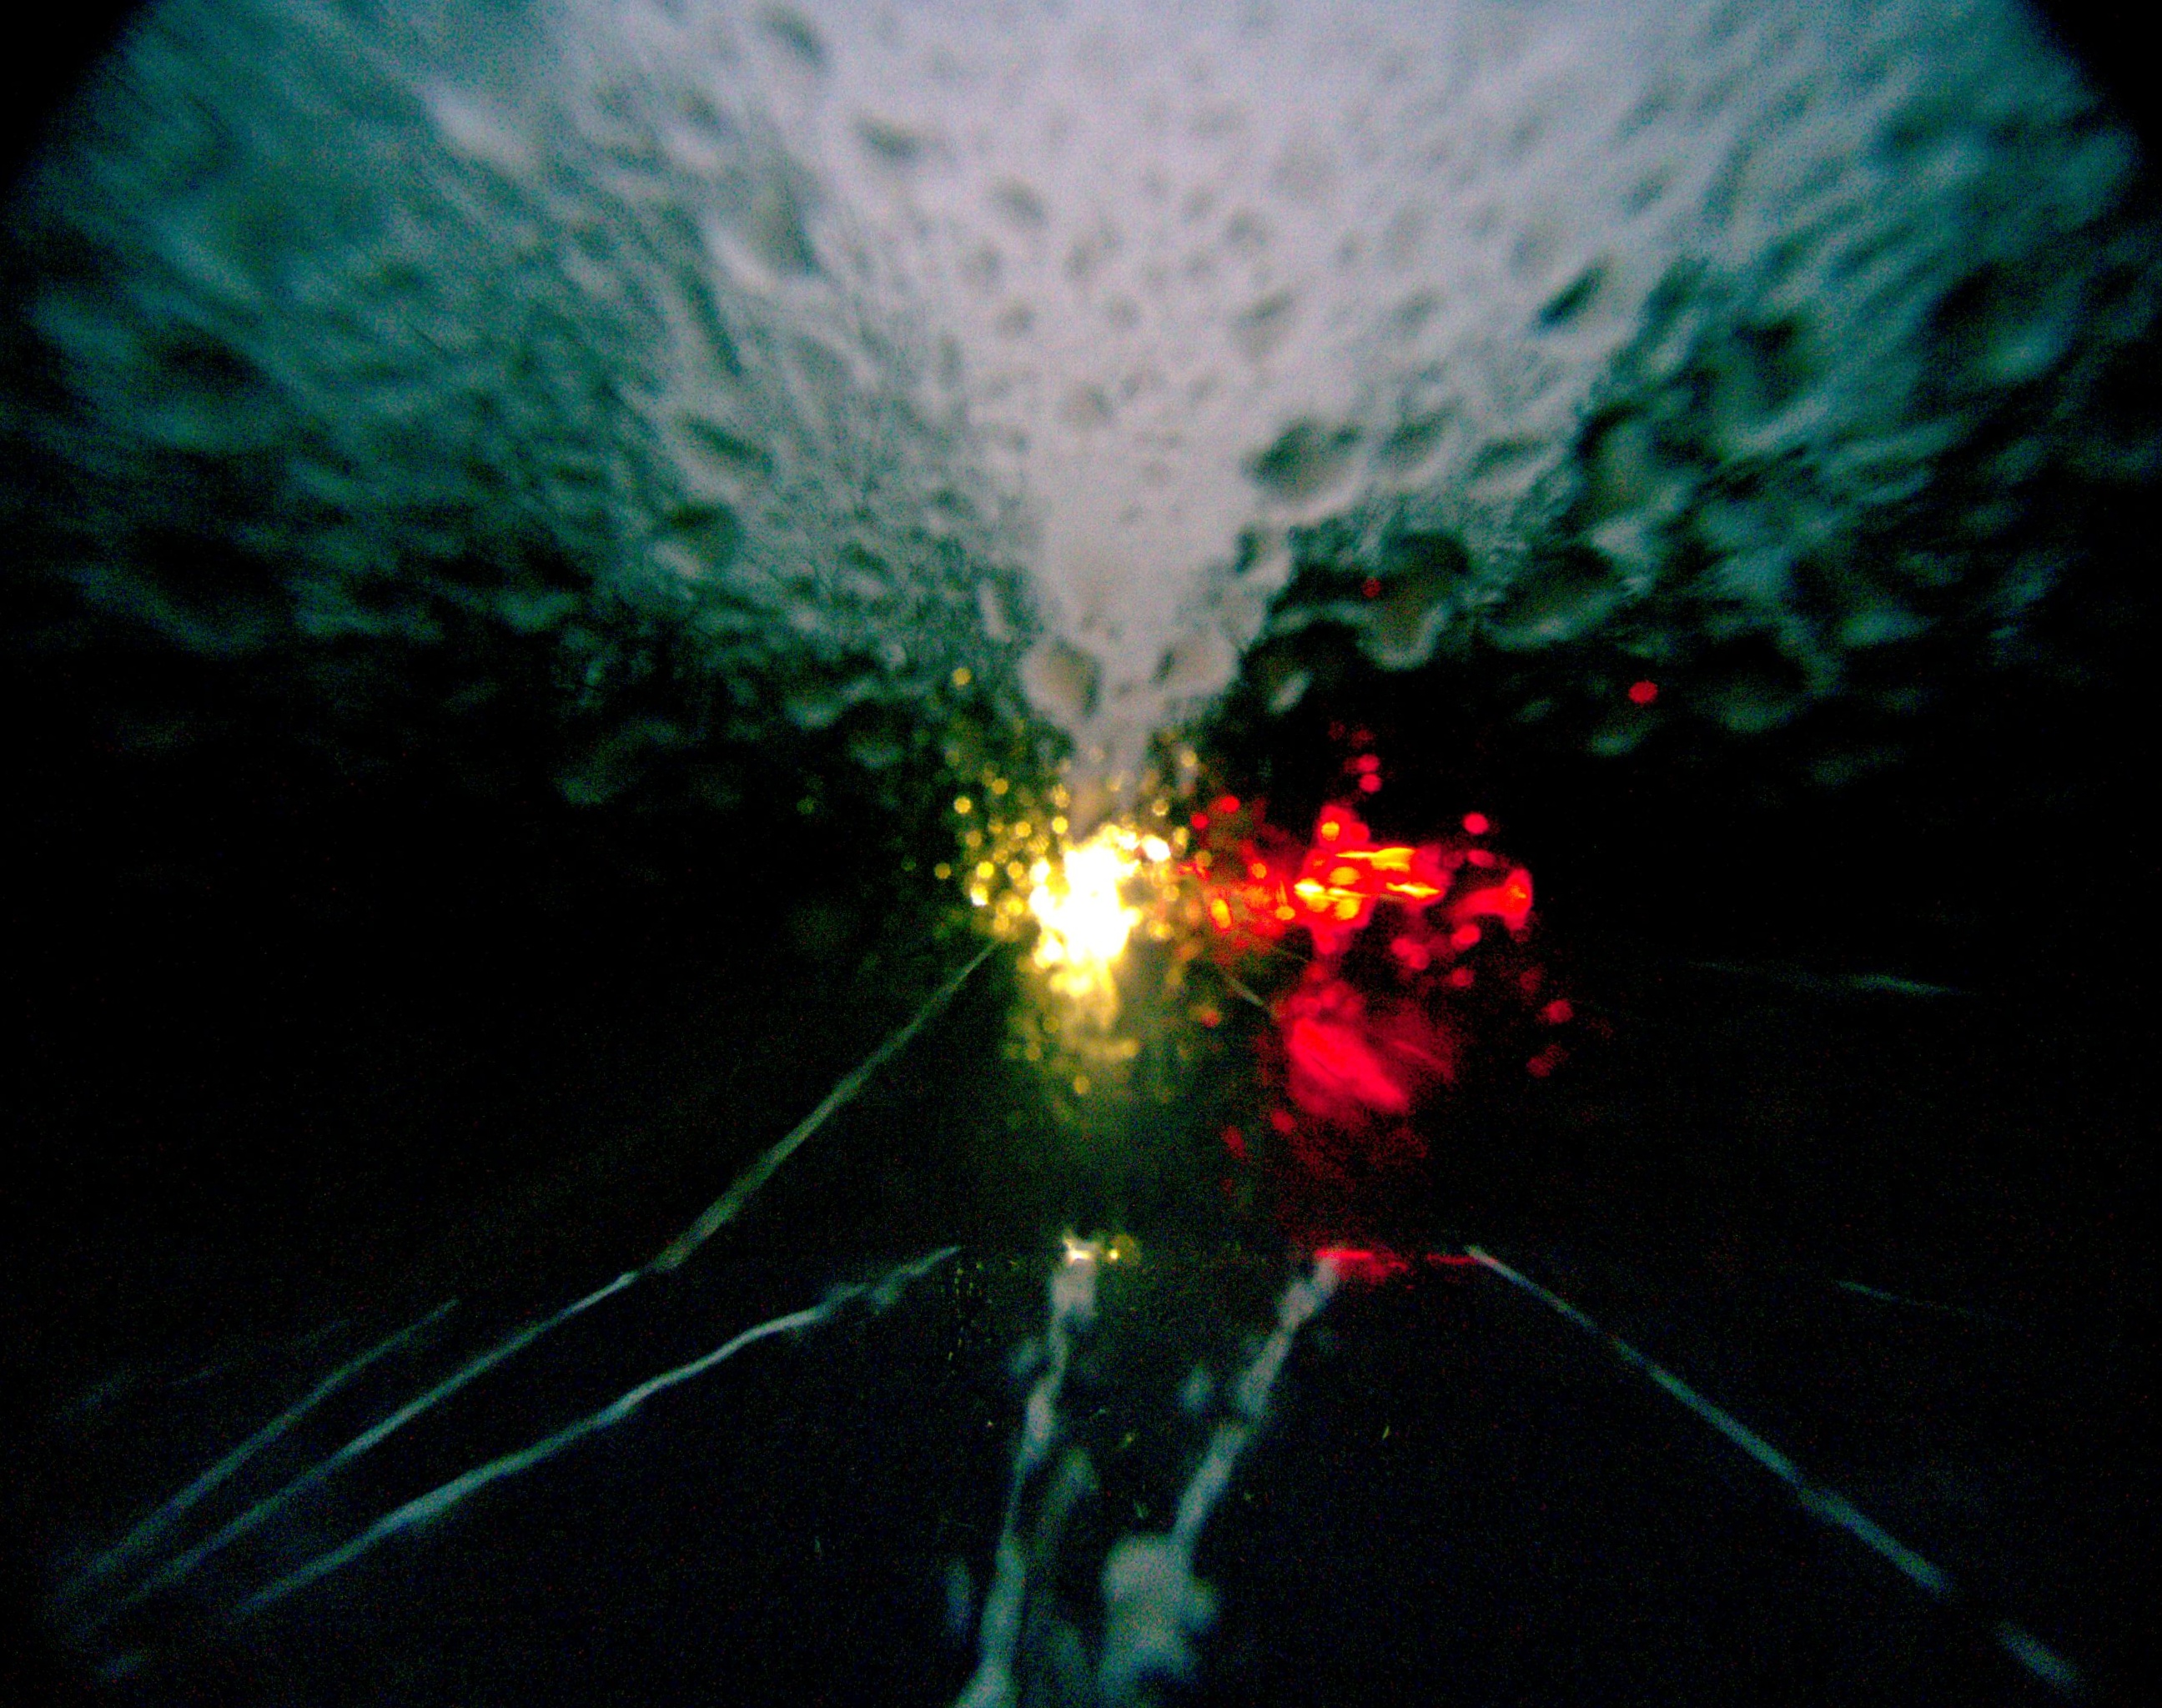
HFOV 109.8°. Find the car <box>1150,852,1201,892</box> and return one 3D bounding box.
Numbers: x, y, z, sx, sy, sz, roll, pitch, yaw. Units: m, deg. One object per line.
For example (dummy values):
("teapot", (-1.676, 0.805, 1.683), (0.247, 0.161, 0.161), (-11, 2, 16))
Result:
("car", (4.056, 0.734, 33.204), (1.804, 1.591, 3.861), (0, 1, 1))

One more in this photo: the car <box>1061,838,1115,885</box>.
("car", (0.423, 0.313, 40.170), (2.542, 2.213, 6.169), (-2, 1, 2))

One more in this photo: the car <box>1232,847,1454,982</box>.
("car", (3.702, 0.764, 11.747), (1.826, 1.639, 4.750), (1, 0, 1))
